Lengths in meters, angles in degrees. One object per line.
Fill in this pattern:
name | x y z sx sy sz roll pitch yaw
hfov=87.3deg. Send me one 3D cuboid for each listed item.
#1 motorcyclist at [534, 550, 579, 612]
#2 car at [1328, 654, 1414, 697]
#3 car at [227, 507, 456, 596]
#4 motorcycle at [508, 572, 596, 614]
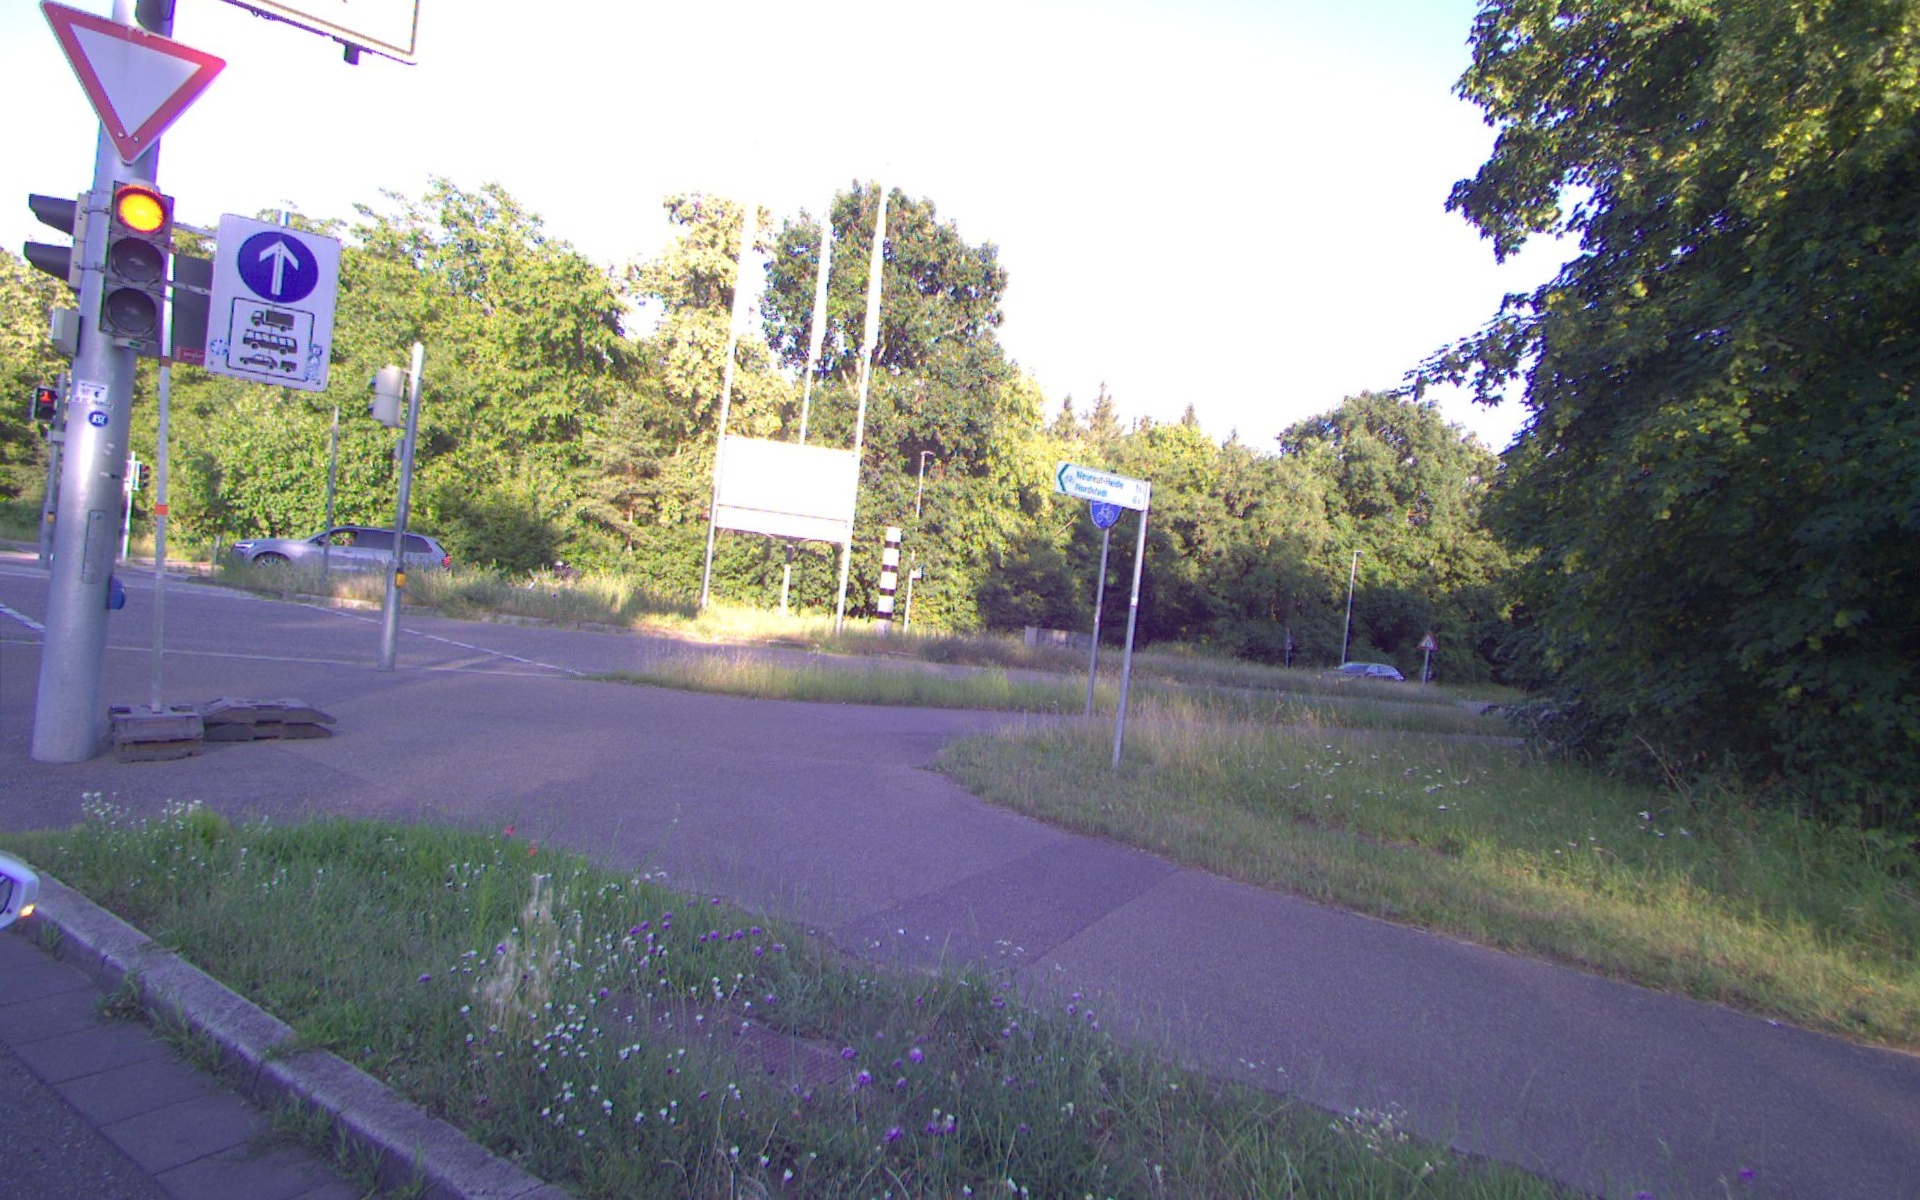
motorcyclist | -11.294 -0.522 28.130 0.881 1.614 0.648 6 0 -37
car | 18.688 3.444 45.660 3.840 1.507 1.754 7 -1 -36
car | -15.918 -1.208 26.004 4.790 1.618 1.980 7 0 -37
motorcycle | -11.379 -0.185 28.104 2.133 0.921 0.655 7 0 -37
